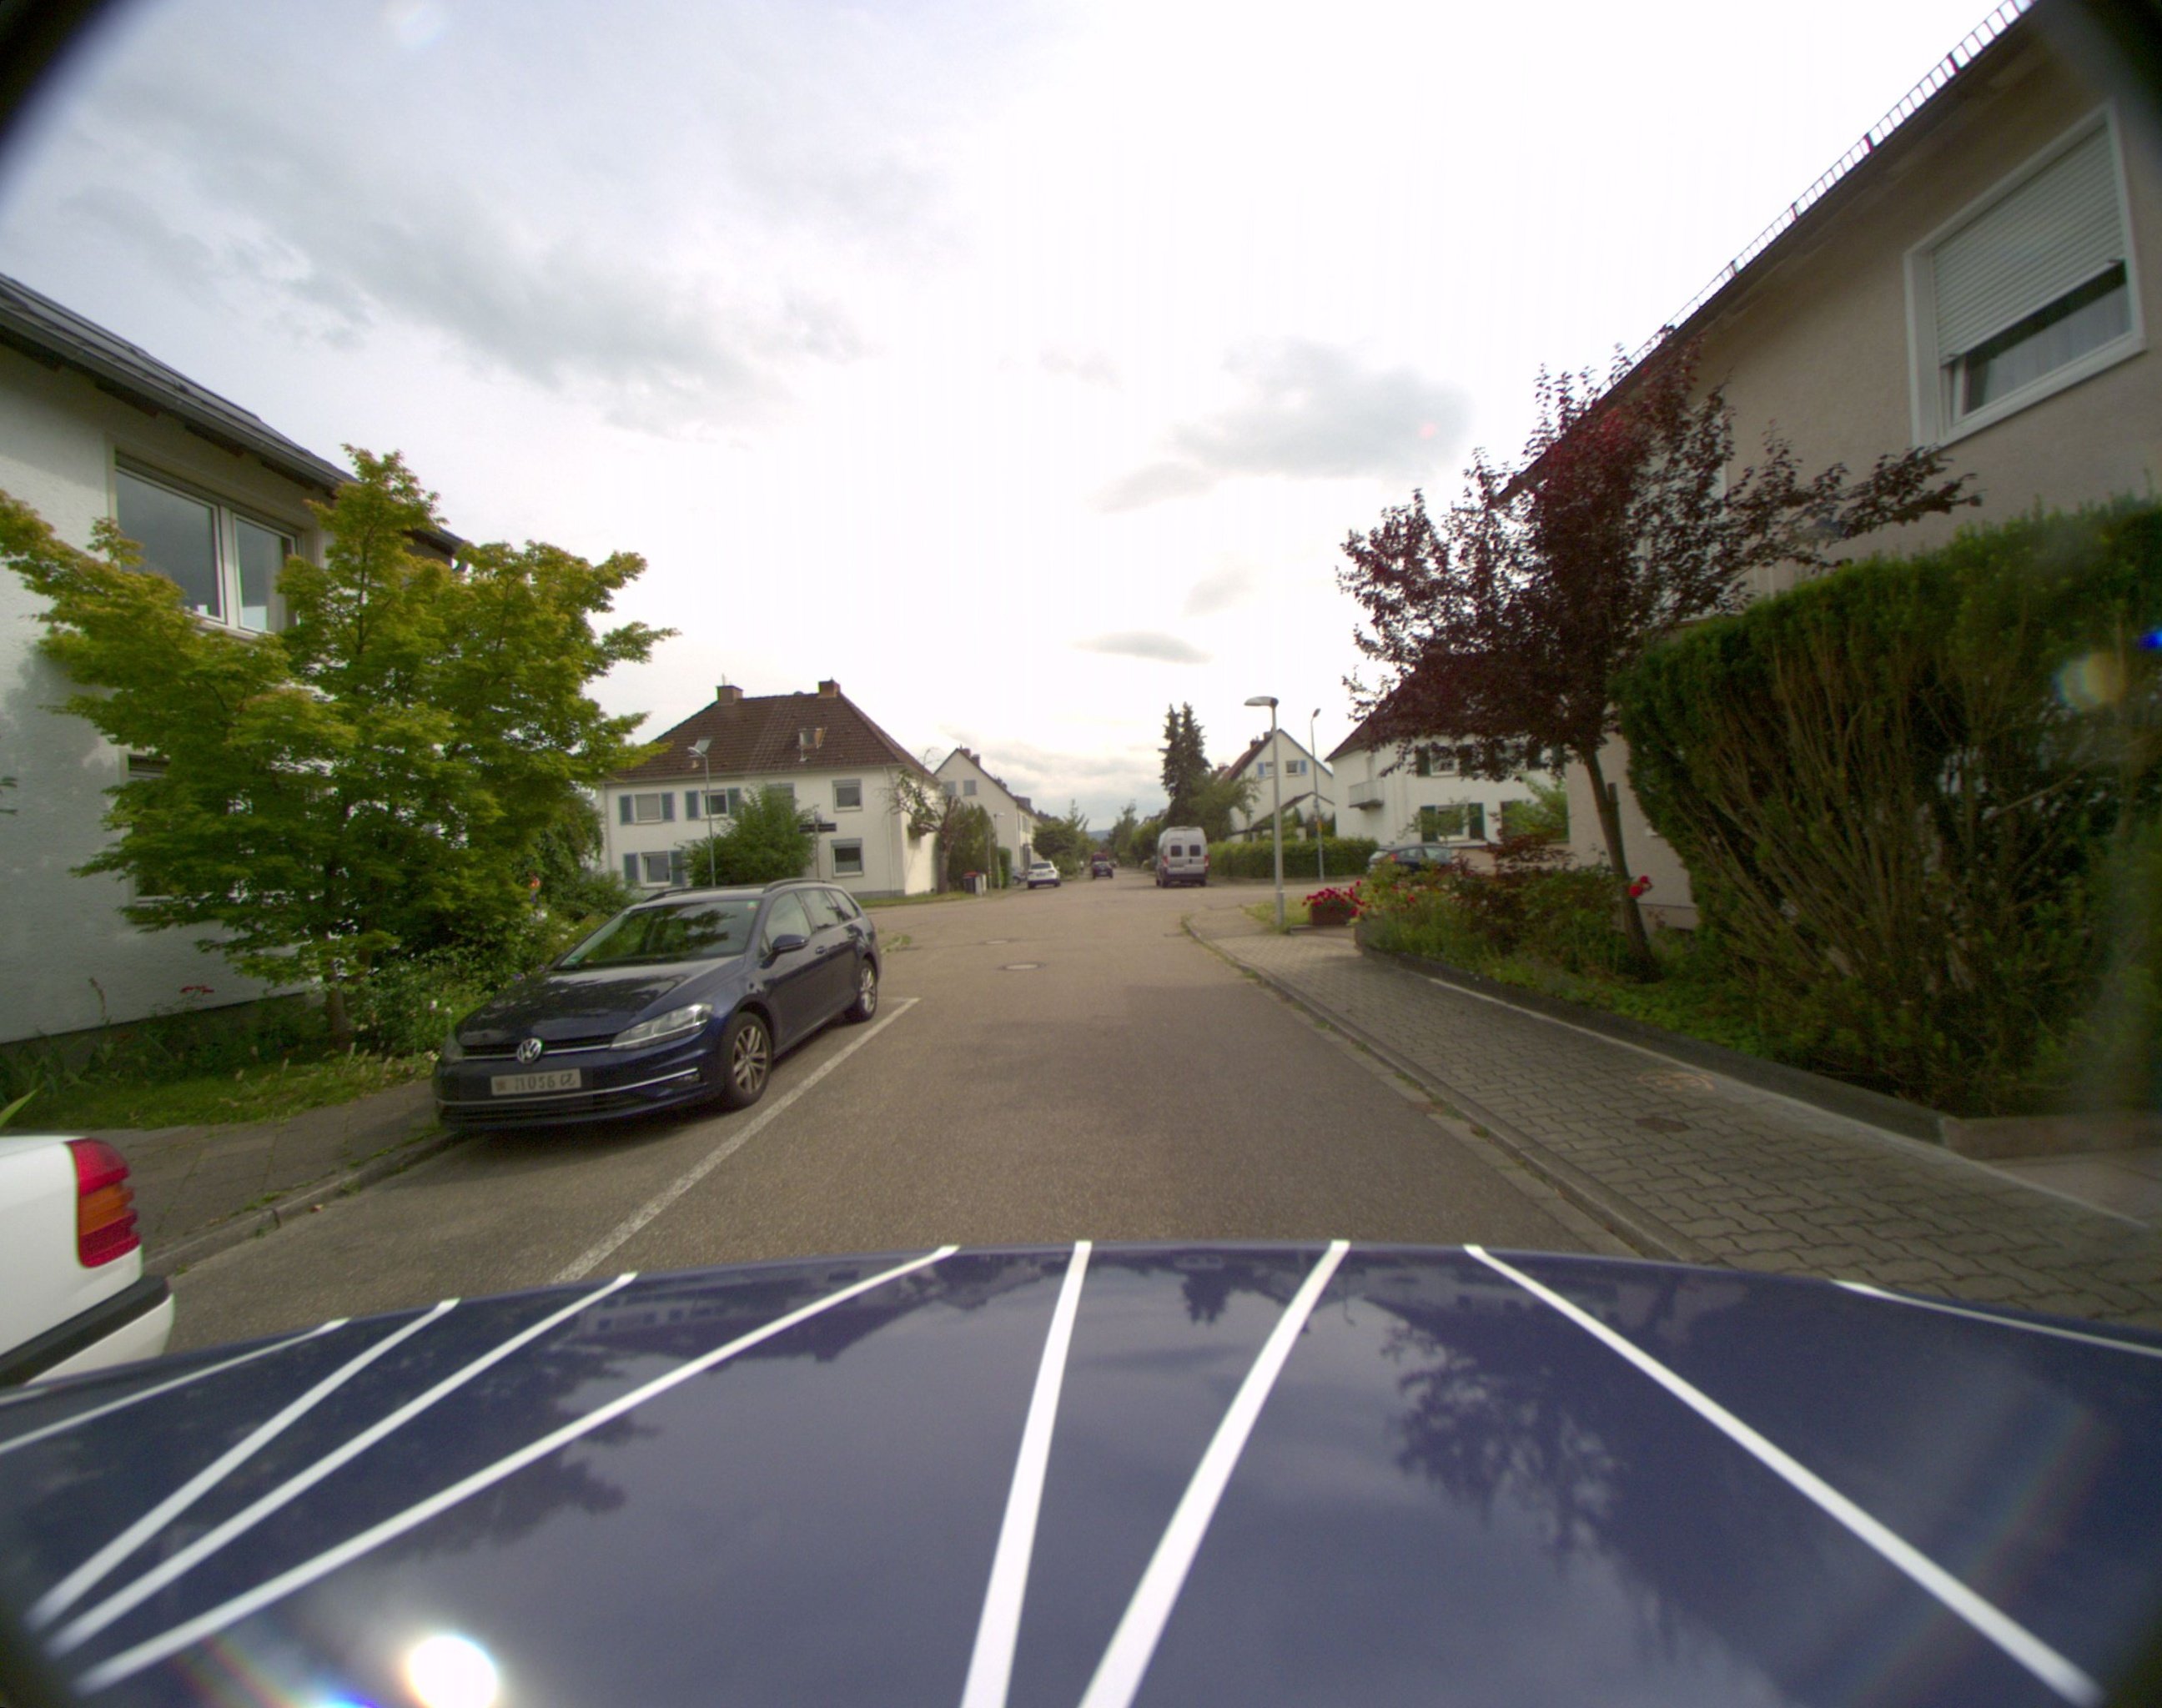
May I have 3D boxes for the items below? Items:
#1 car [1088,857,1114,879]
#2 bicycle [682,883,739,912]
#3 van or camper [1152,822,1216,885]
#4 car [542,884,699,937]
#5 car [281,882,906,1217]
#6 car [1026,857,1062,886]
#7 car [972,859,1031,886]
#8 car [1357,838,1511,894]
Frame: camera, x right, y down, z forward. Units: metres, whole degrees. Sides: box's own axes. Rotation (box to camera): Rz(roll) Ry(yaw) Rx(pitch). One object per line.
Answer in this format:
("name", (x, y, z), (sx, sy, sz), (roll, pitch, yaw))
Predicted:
("car", (1.824, 1.190, 66.836), (1.998, 1.696, 4.001), (-3, 0, 5))
("bicycle", (-16.422, 1.920, 33.702), (2.169, 1.128, 0.572), (-3, 0, 1))
("van or camper", (4.899, -0.010, 37.068), (2.346, 2.719, 5.748), (-3, 0, 2))
("car", (-17.039, 2.057, 28.265), (4.542, 1.561, 2.000), (-3, 0, 2))
("car", (-3.047, 1.095, 6.296), (1.872, 1.431, 4.851), (-3, 0, 2))
("car", (-2.242, 1.055, 46.822), (1.999, 1.589, 3.999), (-3, 0, -2))
("car", (-5.862, 1.370, 56.497), (3.996, 1.696, 2.000), (-3, 0, 2))
("car", (10.748, 0.363, 23.341), (3.882, 1.433, 1.722), (-3, 0, 1))
